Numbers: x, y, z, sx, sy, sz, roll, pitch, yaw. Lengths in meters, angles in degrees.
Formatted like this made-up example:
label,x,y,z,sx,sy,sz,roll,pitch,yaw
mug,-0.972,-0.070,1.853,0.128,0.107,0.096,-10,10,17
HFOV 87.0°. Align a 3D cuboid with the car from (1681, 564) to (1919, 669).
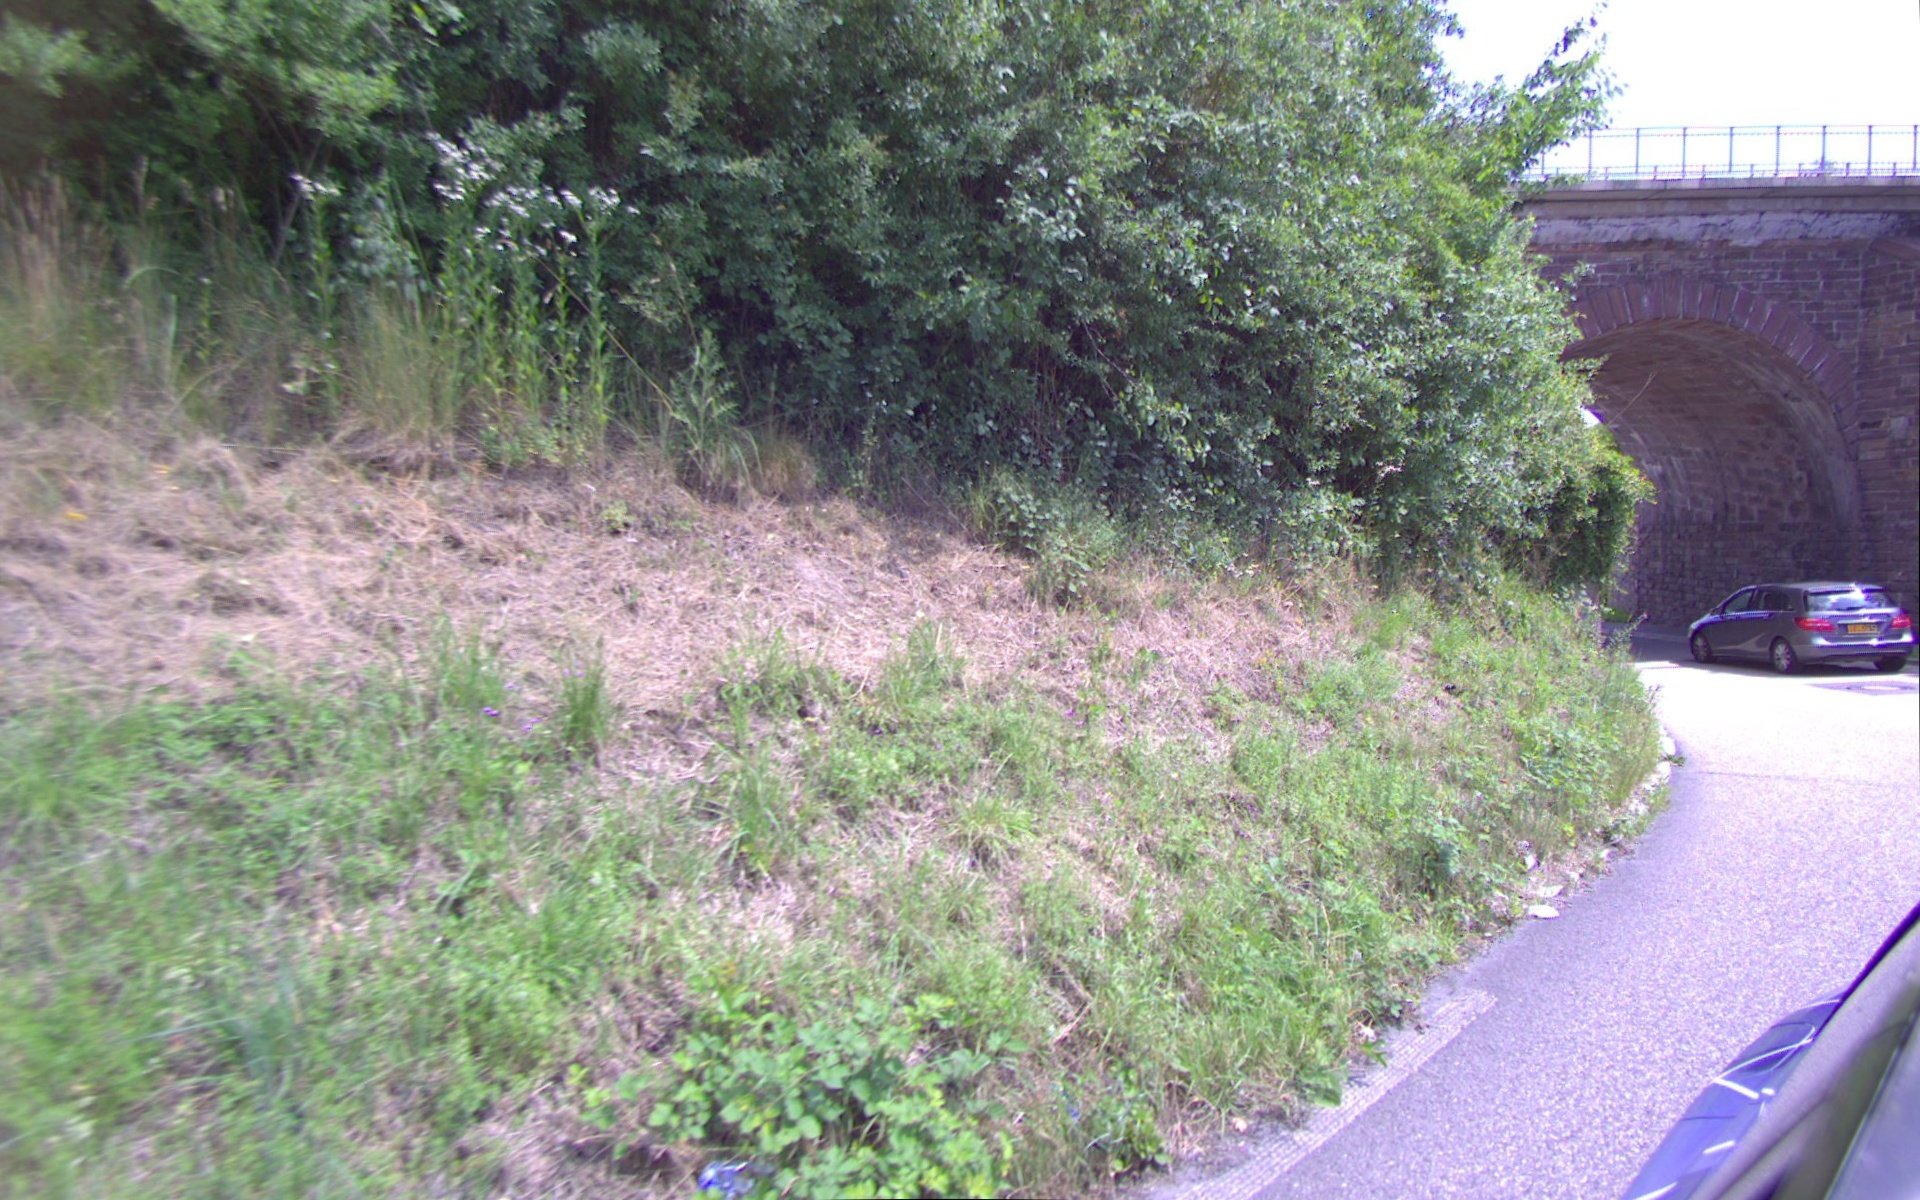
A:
label,x,y,z,sx,sy,sz,roll,pitch,yaw
car,15.316,0.249,18.537,1.696,1.575,4.117,-5,0,10
